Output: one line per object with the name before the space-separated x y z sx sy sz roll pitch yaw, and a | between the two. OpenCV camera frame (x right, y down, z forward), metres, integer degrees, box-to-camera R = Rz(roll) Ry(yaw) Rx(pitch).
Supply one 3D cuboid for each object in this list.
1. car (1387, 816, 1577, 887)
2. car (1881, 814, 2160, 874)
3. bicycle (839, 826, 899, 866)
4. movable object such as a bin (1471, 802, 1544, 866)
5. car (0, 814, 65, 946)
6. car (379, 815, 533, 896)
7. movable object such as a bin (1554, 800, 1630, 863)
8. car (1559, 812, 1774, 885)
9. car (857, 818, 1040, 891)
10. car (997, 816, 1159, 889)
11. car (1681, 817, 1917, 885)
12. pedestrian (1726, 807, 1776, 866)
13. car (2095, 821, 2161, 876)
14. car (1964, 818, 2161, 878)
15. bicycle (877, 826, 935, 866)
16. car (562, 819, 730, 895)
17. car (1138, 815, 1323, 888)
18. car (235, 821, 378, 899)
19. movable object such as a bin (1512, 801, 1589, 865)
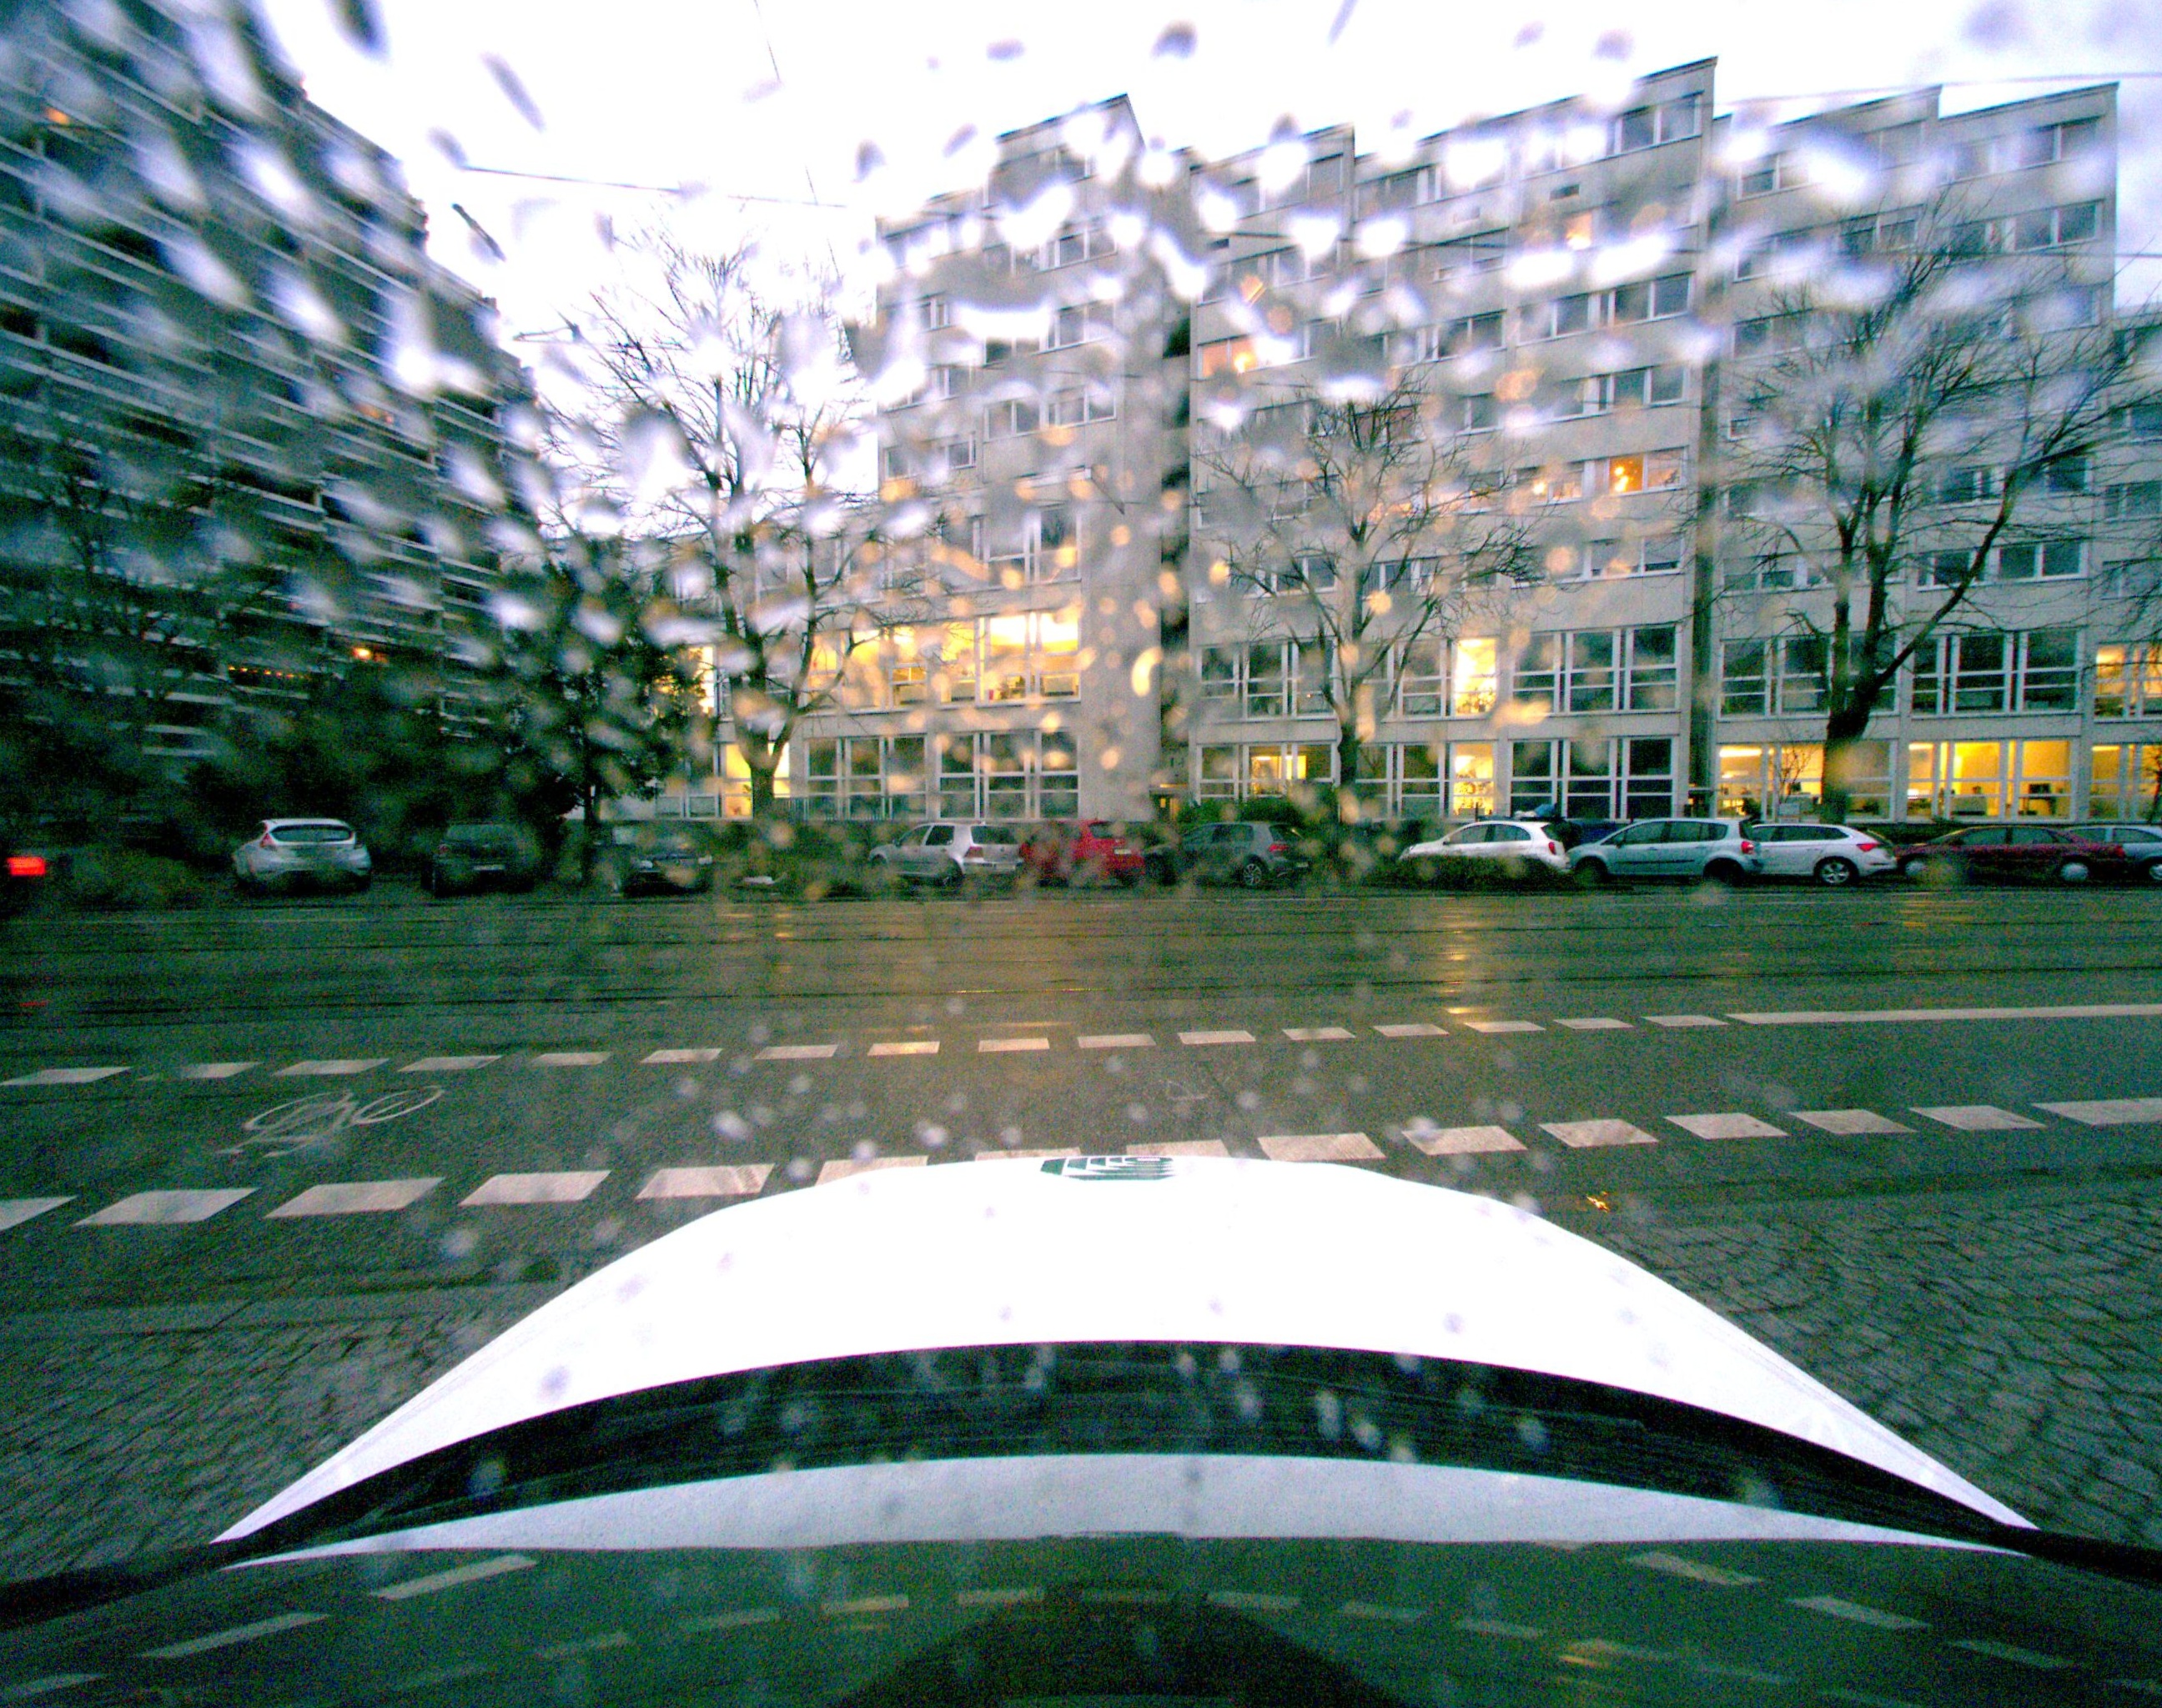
car | 9.652 -0.118 19.720 3.827 1.551 1.704 1 3 40
car | 23.262 -0.263 20.456 4.292 1.352 1.761 1 2 37
bicycle | -6.382 -0.267 24.629 0.635 1.120 2.216 0 2 18
movable object such as a bin | 12.941 -0.624 24.770 1.311 1.859 1.573 -2 2 -4
car | -14.758 0.346 9.156 4.269 1.544 1.752 -1 2 -2
car | -12.997 -0.031 16.845 3.950 1.462 1.867 1 3 43
movable object such as a bin | 15.668 -0.701 25.003 1.311 1.859 1.573 -2 2 -4
car | 13.795 -0.186 19.333 3.950 1.563 1.747 1 3 43
car | -2.999 -0.044 18.047 3.949 1.446 1.804 1 3 39
car | -0.113 -0.077 18.499 3.408 1.492 1.740 1 3 43
car | 16.919 -0.113 19.357 1.745 1.443 3.955 -1 2 -38
pedestrian | 19.485 -0.522 23.694 0.968 1.676 0.598 -1 2 -6
car | 29.648 -0.148 21.182 3.803 1.423 1.748 1 3 39
car | 26.023 -0.177 21.239 1.746 1.463 3.954 -1 2 -40
bicycle | -5.196 -0.264 24.315 0.635 1.120 2.216 0 2 18
car | -9.086 -0.011 16.869 3.950 1.378 1.867 1 3 43
car | 3.344 -0.112 18.553 3.805 1.492 1.707 1 3 41
car | -16.095 0.051 16.863 3.950 1.399 1.867 1 3 43
movable object such as a bin | 14.327 -0.648 24.900 1.386 1.859 1.573 -2 2 -4
